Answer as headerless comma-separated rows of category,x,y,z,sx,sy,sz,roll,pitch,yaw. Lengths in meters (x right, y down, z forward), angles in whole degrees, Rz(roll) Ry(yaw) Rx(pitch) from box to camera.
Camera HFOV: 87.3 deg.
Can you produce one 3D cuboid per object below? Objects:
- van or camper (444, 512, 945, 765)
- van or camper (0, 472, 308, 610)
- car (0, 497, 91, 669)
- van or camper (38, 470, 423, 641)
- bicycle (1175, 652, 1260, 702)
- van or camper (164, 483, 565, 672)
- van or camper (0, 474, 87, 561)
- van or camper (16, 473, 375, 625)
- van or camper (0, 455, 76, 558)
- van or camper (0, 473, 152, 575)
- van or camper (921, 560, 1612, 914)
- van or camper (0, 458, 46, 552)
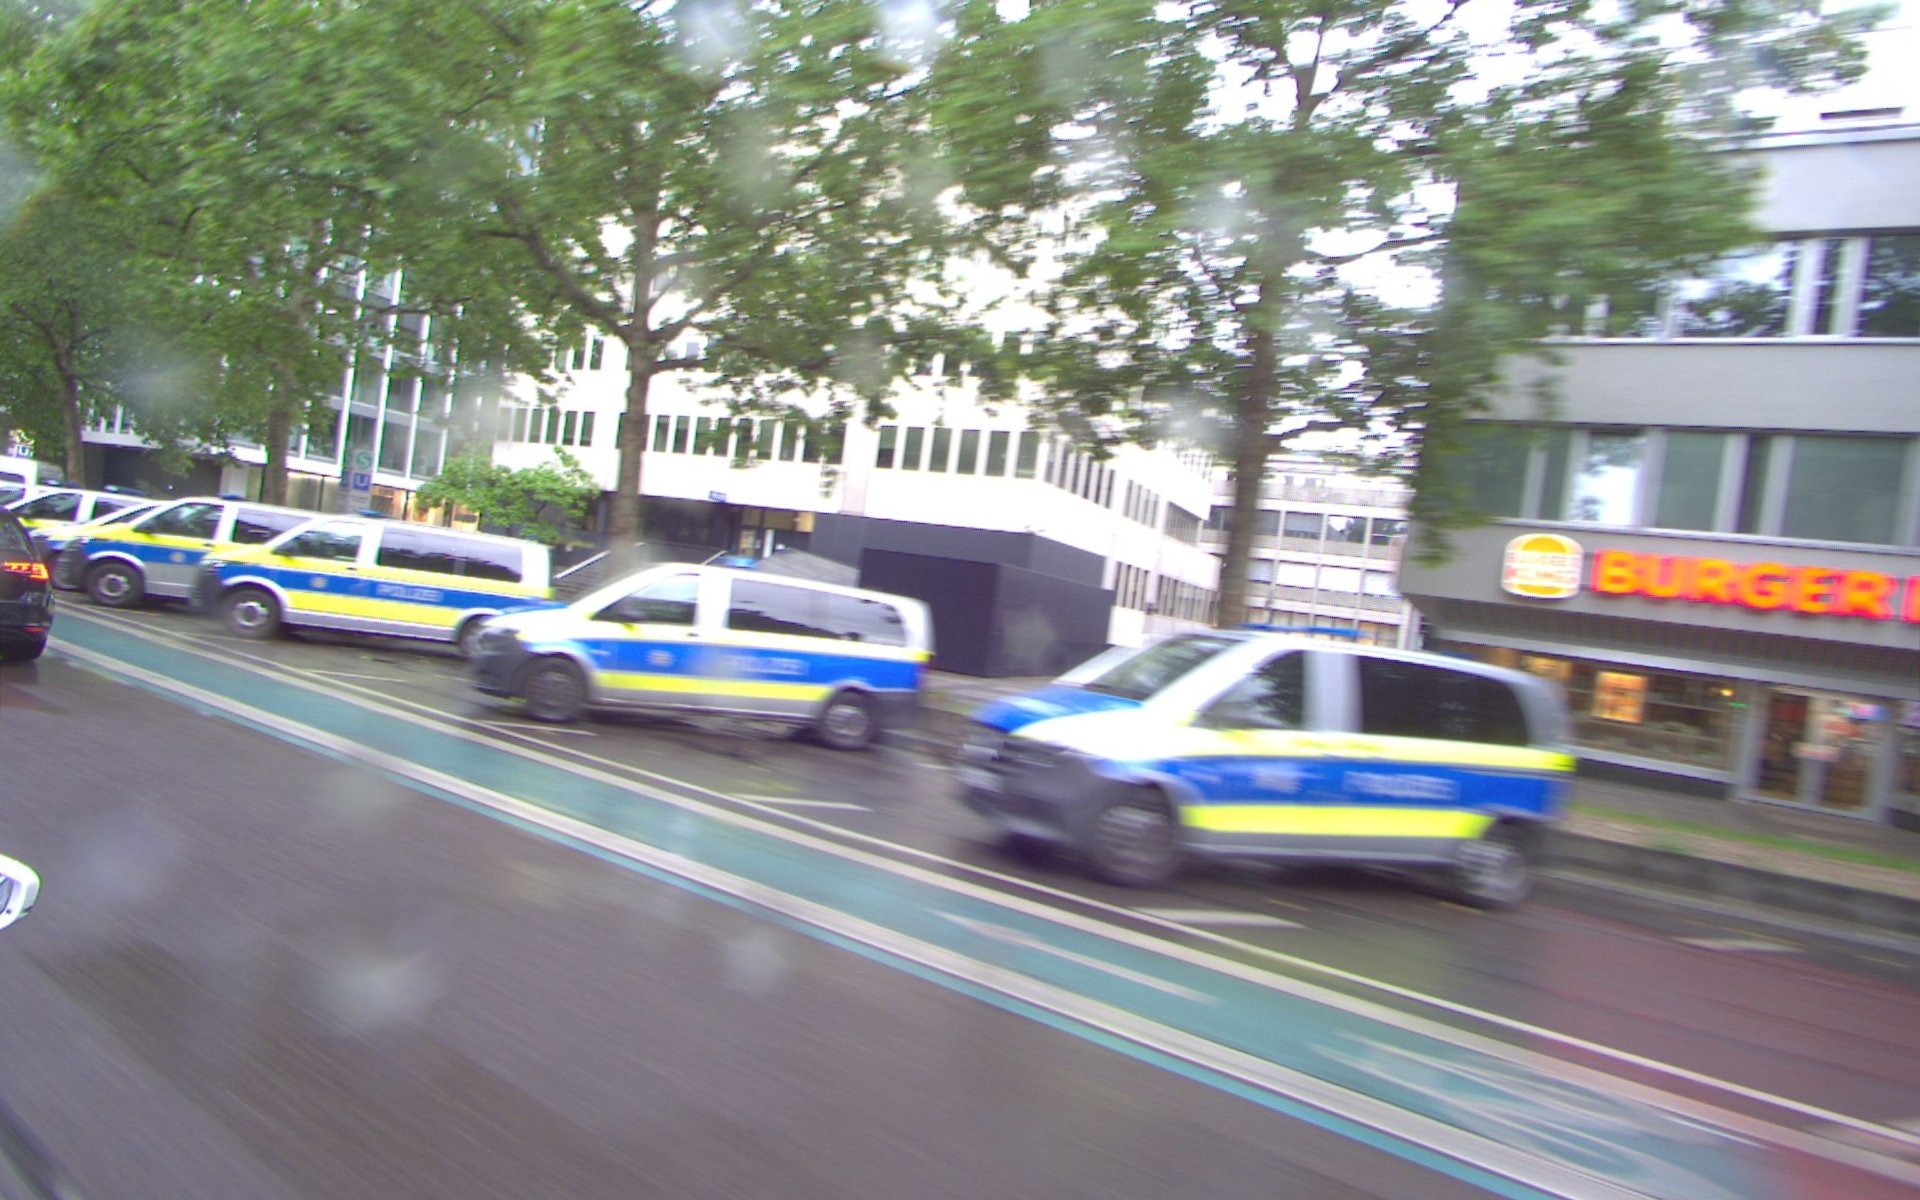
van or camper,-2.968,0.516,11.723,5.023,2.042,1.988,9,-2,-22
van or camper,-17.063,-1.185,21.209,5.038,2.049,2.096,8,-1,-21
car,-9.975,-0.365,9.292,3.933,1.430,1.768,7,0,32
van or camper,-12.013,-0.647,17.046,4.732,2.034,1.990,8,-2,-22
bicycle,7.773,2.329,30.396,2.249,1.187,0.687,7,0,32
van or camper,-8.669,-0.257,15.248,4.790,2.021,1.859,8,-1,-22
van or camper,-26.389,-2.398,26.214,4.951,2.037,1.990,8,-2,-23
van or camper,-14.215,-0.879,19.169,4.964,2.019,1.988,8,-1,-26
van or camper,-28.872,-2.937,28.073,5.737,2.712,1.989,8,-1,-23
van or camper,-23.261,-2.024,24.397,5.145,2.014,1.990,9,-2,-24
van or camper,2.413,1.103,7.992,4.880,2.014,1.994,9,-2,-20
van or camper,-31.397,-3.231,29.831,5.738,2.709,2.137,8,-1,-21
